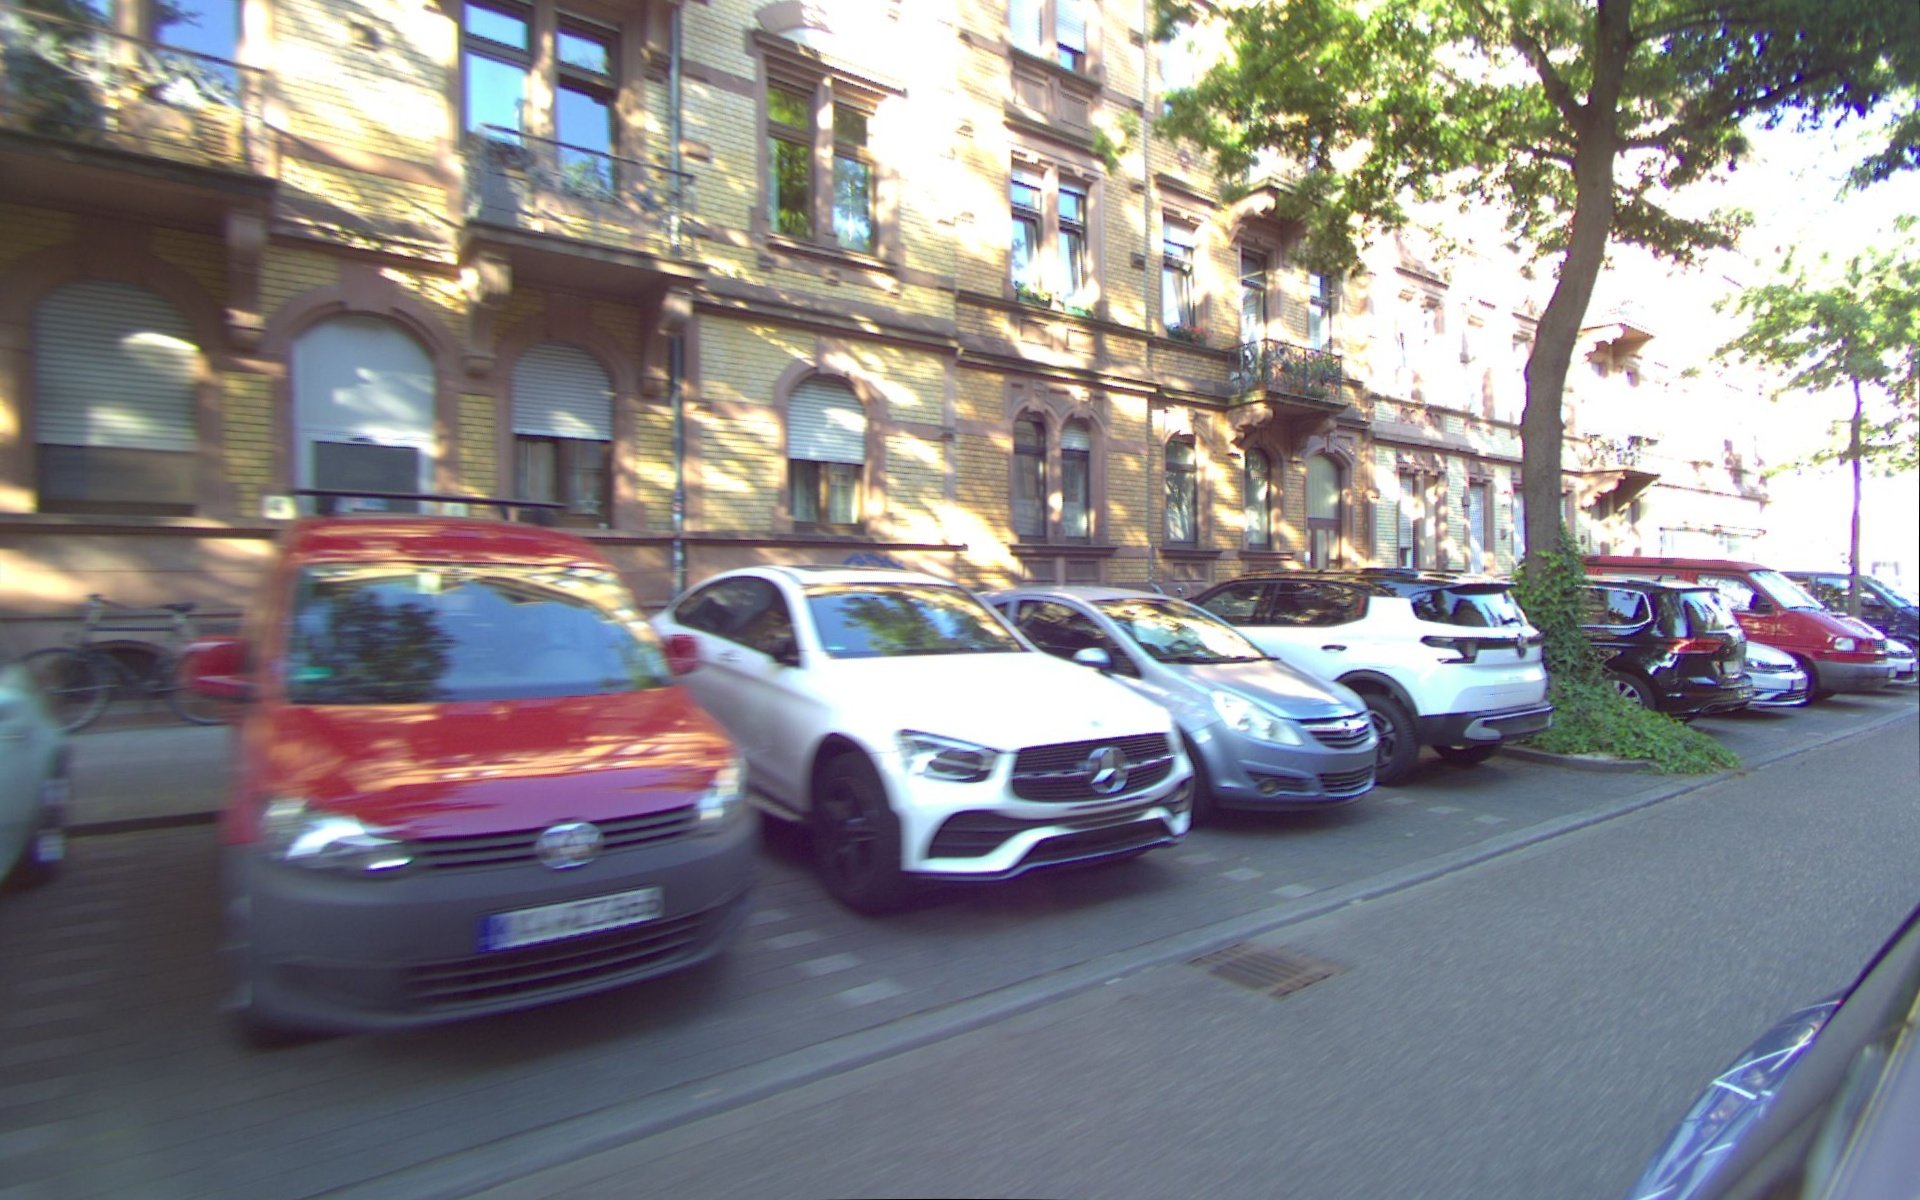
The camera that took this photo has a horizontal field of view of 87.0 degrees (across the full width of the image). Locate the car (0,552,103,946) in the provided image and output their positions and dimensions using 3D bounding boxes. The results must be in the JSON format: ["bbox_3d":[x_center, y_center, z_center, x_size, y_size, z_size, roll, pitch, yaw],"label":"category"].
[{"bbox_3d":[-4.317,0.568,3.232,1.813,1.473,3.675,1,2,-31],"label":"car"}]

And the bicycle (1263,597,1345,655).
[{"bbox_3d":[6.253,0.458,18.344,1.833,0.974,0.406,-1,3,-37],"label":"bicycle"}]

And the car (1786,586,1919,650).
[{"bbox_3d":[22.877,0.426,23.979,1.816,1.430,4.803,-1,2,-34],"label":"car"}]

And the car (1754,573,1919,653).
[{"bbox_3d":[20.949,0.257,22.605,1.813,1.700,4.710,-1,2,-27],"label":"car"}]

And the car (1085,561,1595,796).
[{"bbox_3d":[3.201,0.474,9.229,1.772,1.648,4.021,-1,2,-38],"label":"car"}]

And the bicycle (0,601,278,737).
[{"bbox_3d":[-6.868,0.532,8.510,1.858,1.013,0.555,-1,2,-37],"label":"bicycle"}]

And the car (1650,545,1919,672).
[{"bbox_3d":[16.744,0.145,19.743,1.955,2.243,5.036,-1,0,-36],"label":"car"}]

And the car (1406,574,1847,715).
[{"bbox_3d":[8.808,0.438,13.847,1.843,1.533,4.692,-1,2,-34],"label":"car"}]

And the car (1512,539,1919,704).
[{"bbox_3d":[11.092,0.184,15.090,1.844,2.058,4.690,-1,2,-36],"label":"car"}]

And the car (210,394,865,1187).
[{"bbox_3d":[-2.416,0.381,4.814,1.815,1.948,4.458,1,2,-37],"label":"car"}]

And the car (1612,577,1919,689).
[{"bbox_3d":[13.307,0.426,16.552,1.844,1.529,4.066,-1,2,-37],"label":"car"}]

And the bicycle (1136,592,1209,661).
[{"bbox_3d":[3.367,0.391,15.907,0.403,0.974,1.844,3,3,35],"label":"bicycle"}]

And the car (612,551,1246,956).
[{"bbox_3d":[-0.589,0.533,6.295,1.815,1.575,4.360,1,2,-35],"label":"car"}]

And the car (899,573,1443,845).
[{"bbox_3d":[1.336,0.563,7.886,1.760,1.451,4.025,-1,3,-35],"label":"car"}]

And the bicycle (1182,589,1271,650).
[{"bbox_3d":[4.582,0.316,17.359,1.833,0.974,0.406,-1,3,-37],"label":"bicycle"}]

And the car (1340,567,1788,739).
[{"bbox_3d":[6.923,0.442,12.027,1.803,1.648,4.199,-1,2,-36],"label":"car"}]

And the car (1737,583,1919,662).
[{"bbox_3d":[19.077,0.444,21.219,1.692,1.554,4.118,-1,0,-36],"label":"car"}]

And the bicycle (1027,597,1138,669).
[{"bbox_3d":[1.822,0.463,14.914,1.833,0.974,0.406,-1,3,-37],"label":"bicycle"}]
